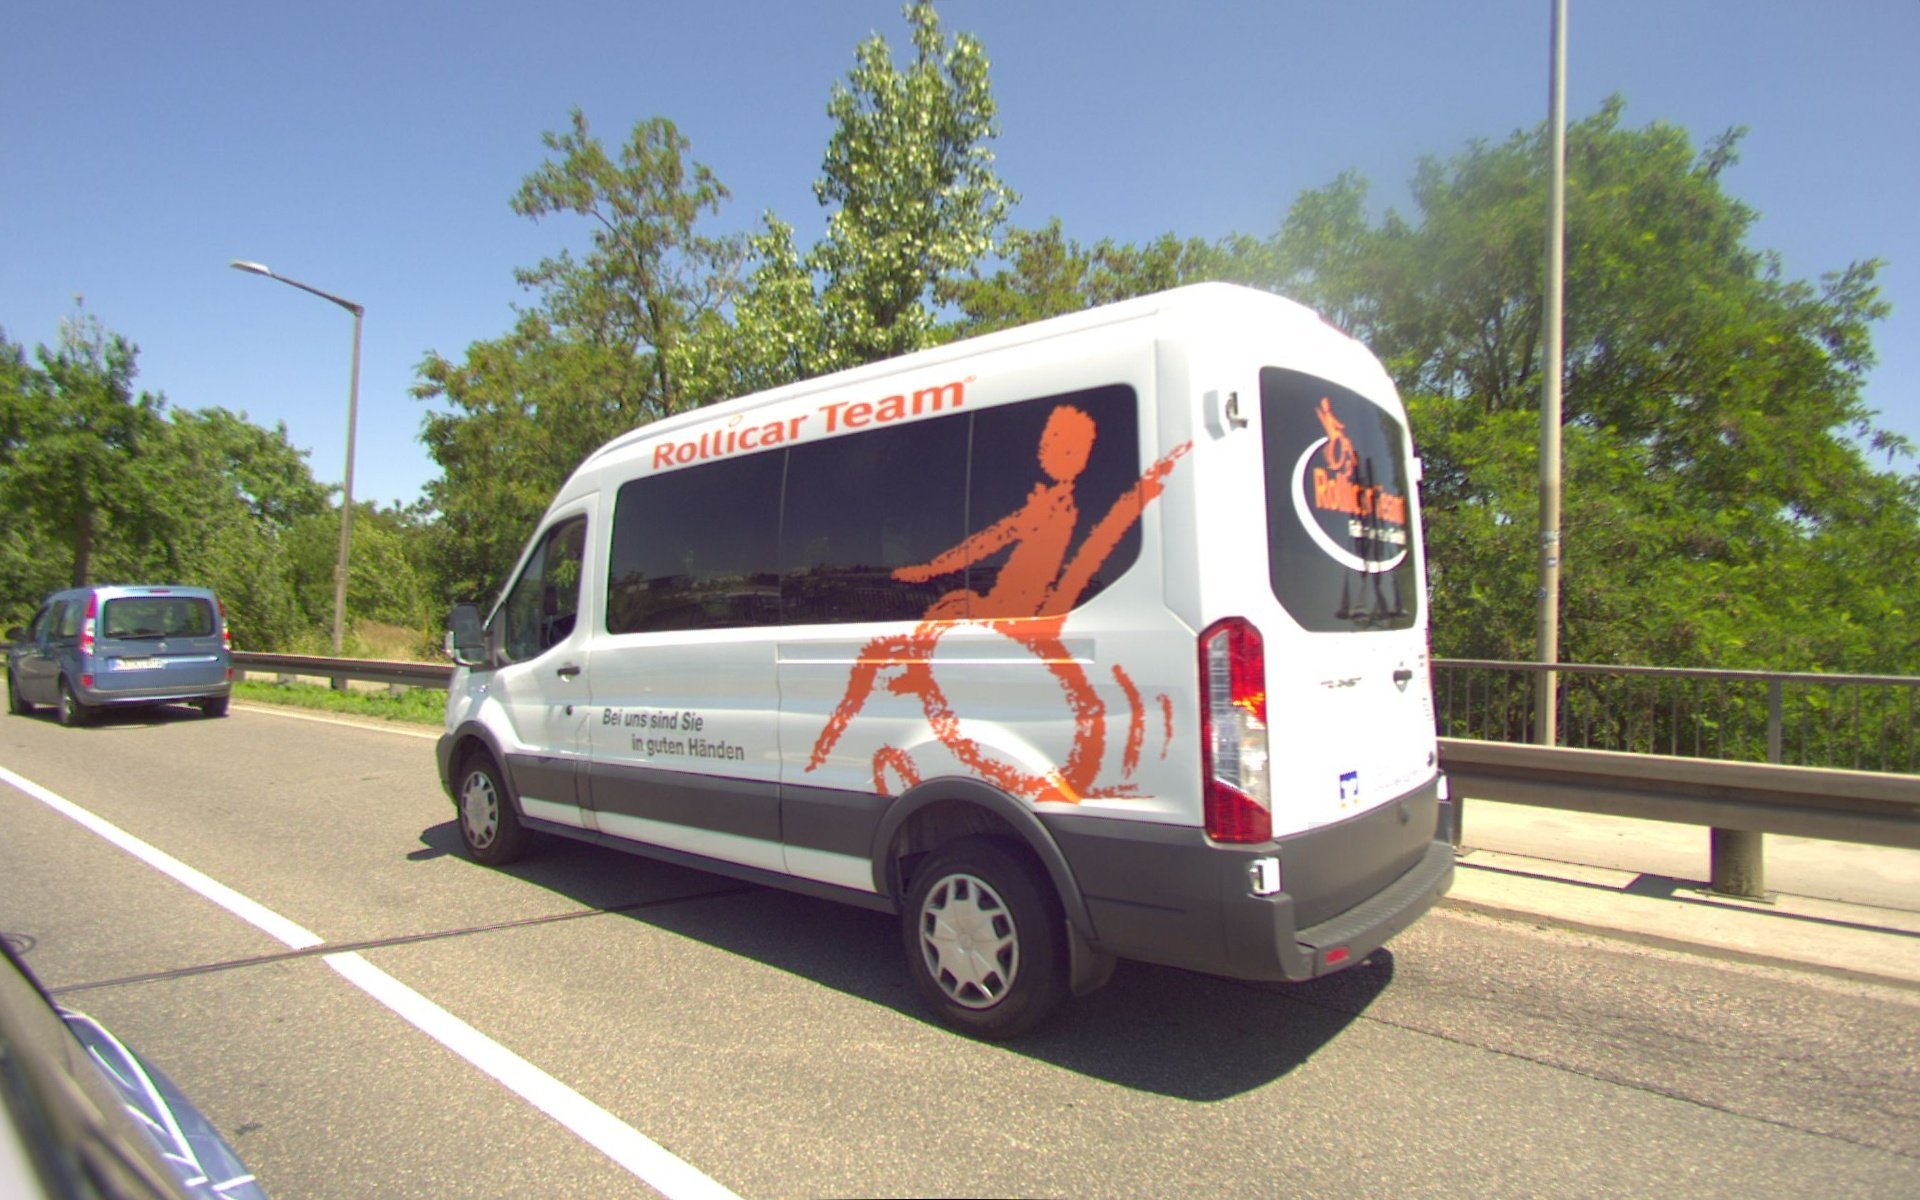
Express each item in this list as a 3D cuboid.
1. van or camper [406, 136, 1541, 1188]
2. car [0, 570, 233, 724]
[{"bbox_3d":[-0.586,0.169,5.171,5.880,2.556,2.027,-1,0,41],"label":"van or camper"},{"bbox_3d":[-12.048,0.580,14.248,4.267,1.869,1.741,0,0,37],"label":"car"}]
